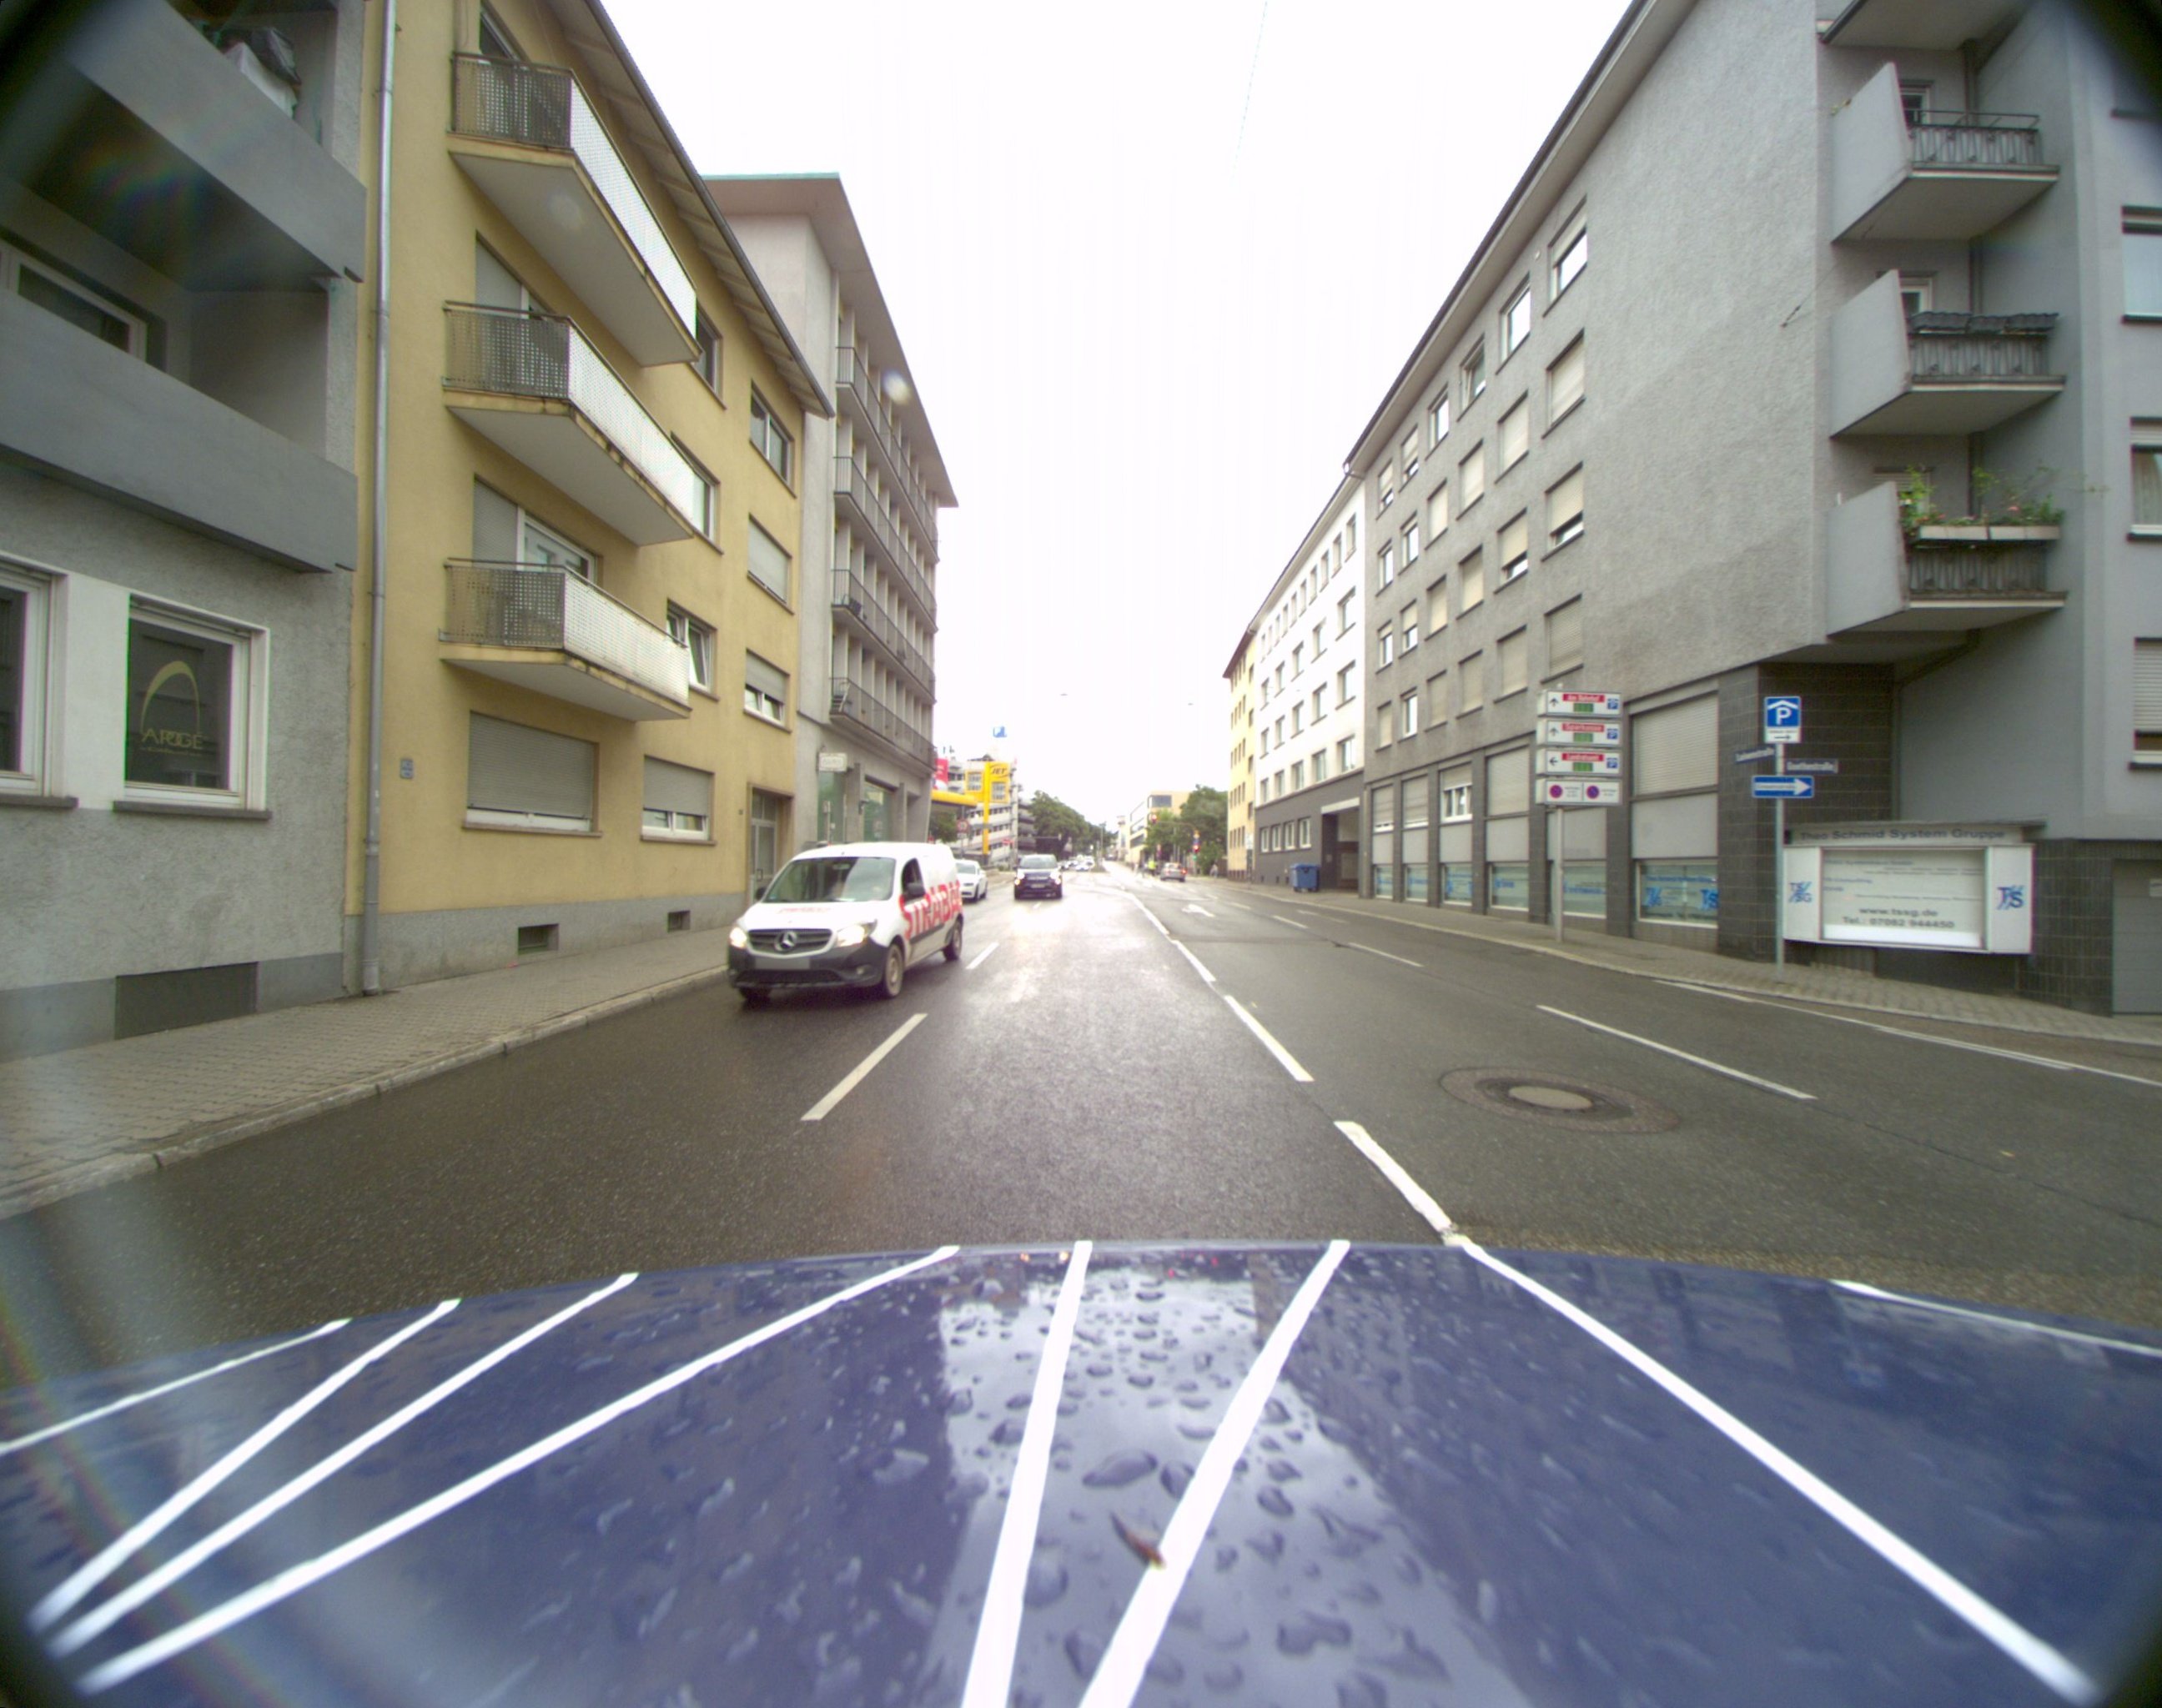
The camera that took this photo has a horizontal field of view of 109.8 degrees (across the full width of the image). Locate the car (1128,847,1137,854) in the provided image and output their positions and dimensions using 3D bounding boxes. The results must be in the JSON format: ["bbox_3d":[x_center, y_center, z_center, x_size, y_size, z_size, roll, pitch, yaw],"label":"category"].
[{"bbox_3d":[13.028,-0.897,191.420,1.998,1.683,4.000,-2,1,2],"label":"car"}]

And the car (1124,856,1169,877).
[{"bbox_3d":[5.980,1.138,69.294,3.929,1.706,1.902,-3,0,2],"label":"car"}]

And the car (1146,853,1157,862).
[{"bbox_3d":[15.600,0.778,168.577,1.998,1.863,3.999,-2,1,1],"label":"car"}]

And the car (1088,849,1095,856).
[{"bbox_3d":[3.418,-0.551,243.998,1.998,2.002,3.999,-2,1,1],"label":"car"}]

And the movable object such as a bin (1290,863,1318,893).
[{"bbox_3d":[10.351,1.094,35.322,0.946,1.325,1.096,-3,0,1],"label":"movable object such as a bin"}]

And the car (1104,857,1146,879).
[{"bbox_3d":[4.102,1.301,71.505,3.794,1.823,1.692,-3,0,2],"label":"car"}]

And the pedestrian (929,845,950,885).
[{"bbox_3d":[-6.178,0.471,33.148,0.679,1.745,0.888,1,1,2],"label":"pedestrian"}]

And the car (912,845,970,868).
[{"bbox_3d":[-10.128,0.178,54.926,3.989,1.465,1.775,-2,1,36],"label":"car"}]

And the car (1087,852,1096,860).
[{"bbox_3d":[2.410,0.419,176.803,1.998,1.736,4.000,1,0,0],"label":"car"}]

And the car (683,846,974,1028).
[{"bbox_3d":[-2.834,0.811,9.870,1.945,1.764,4.747,-1,0,3],"label":"car"}]

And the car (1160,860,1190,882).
[{"bbox_3d":[7.455,1.322,60.661,1.883,1.580,4.373,0,0,1],"label":"car"}]

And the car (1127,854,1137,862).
[{"bbox_3d":[11.717,0.942,175.283,1.998,1.683,4.000,-2,1,2],"label":"car"}]

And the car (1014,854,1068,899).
[{"bbox_3d":[-1.469,0.824,29.250,1.771,1.571,4.000,-1,0,1],"label":"car"}]

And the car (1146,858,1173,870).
[{"bbox_3d":[12.156,1.580,118.110,3.995,1.736,2.000,-2,1,5],"label":"car"}]

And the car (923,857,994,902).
[{"bbox_3d":[-4.363,0.861,27.607,1.803,1.427,4.166,1,0,1],"label":"car"}]

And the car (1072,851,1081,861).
[{"bbox_3d":[-1.025,0.381,170.832,1.998,2.002,3.999,-2,1,1],"label":"car"}]

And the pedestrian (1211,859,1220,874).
[{"bbox_3d":[10.505,1.010,59.331,0.582,1.143,0.407,3,1,10],"label":"pedestrian"}]
